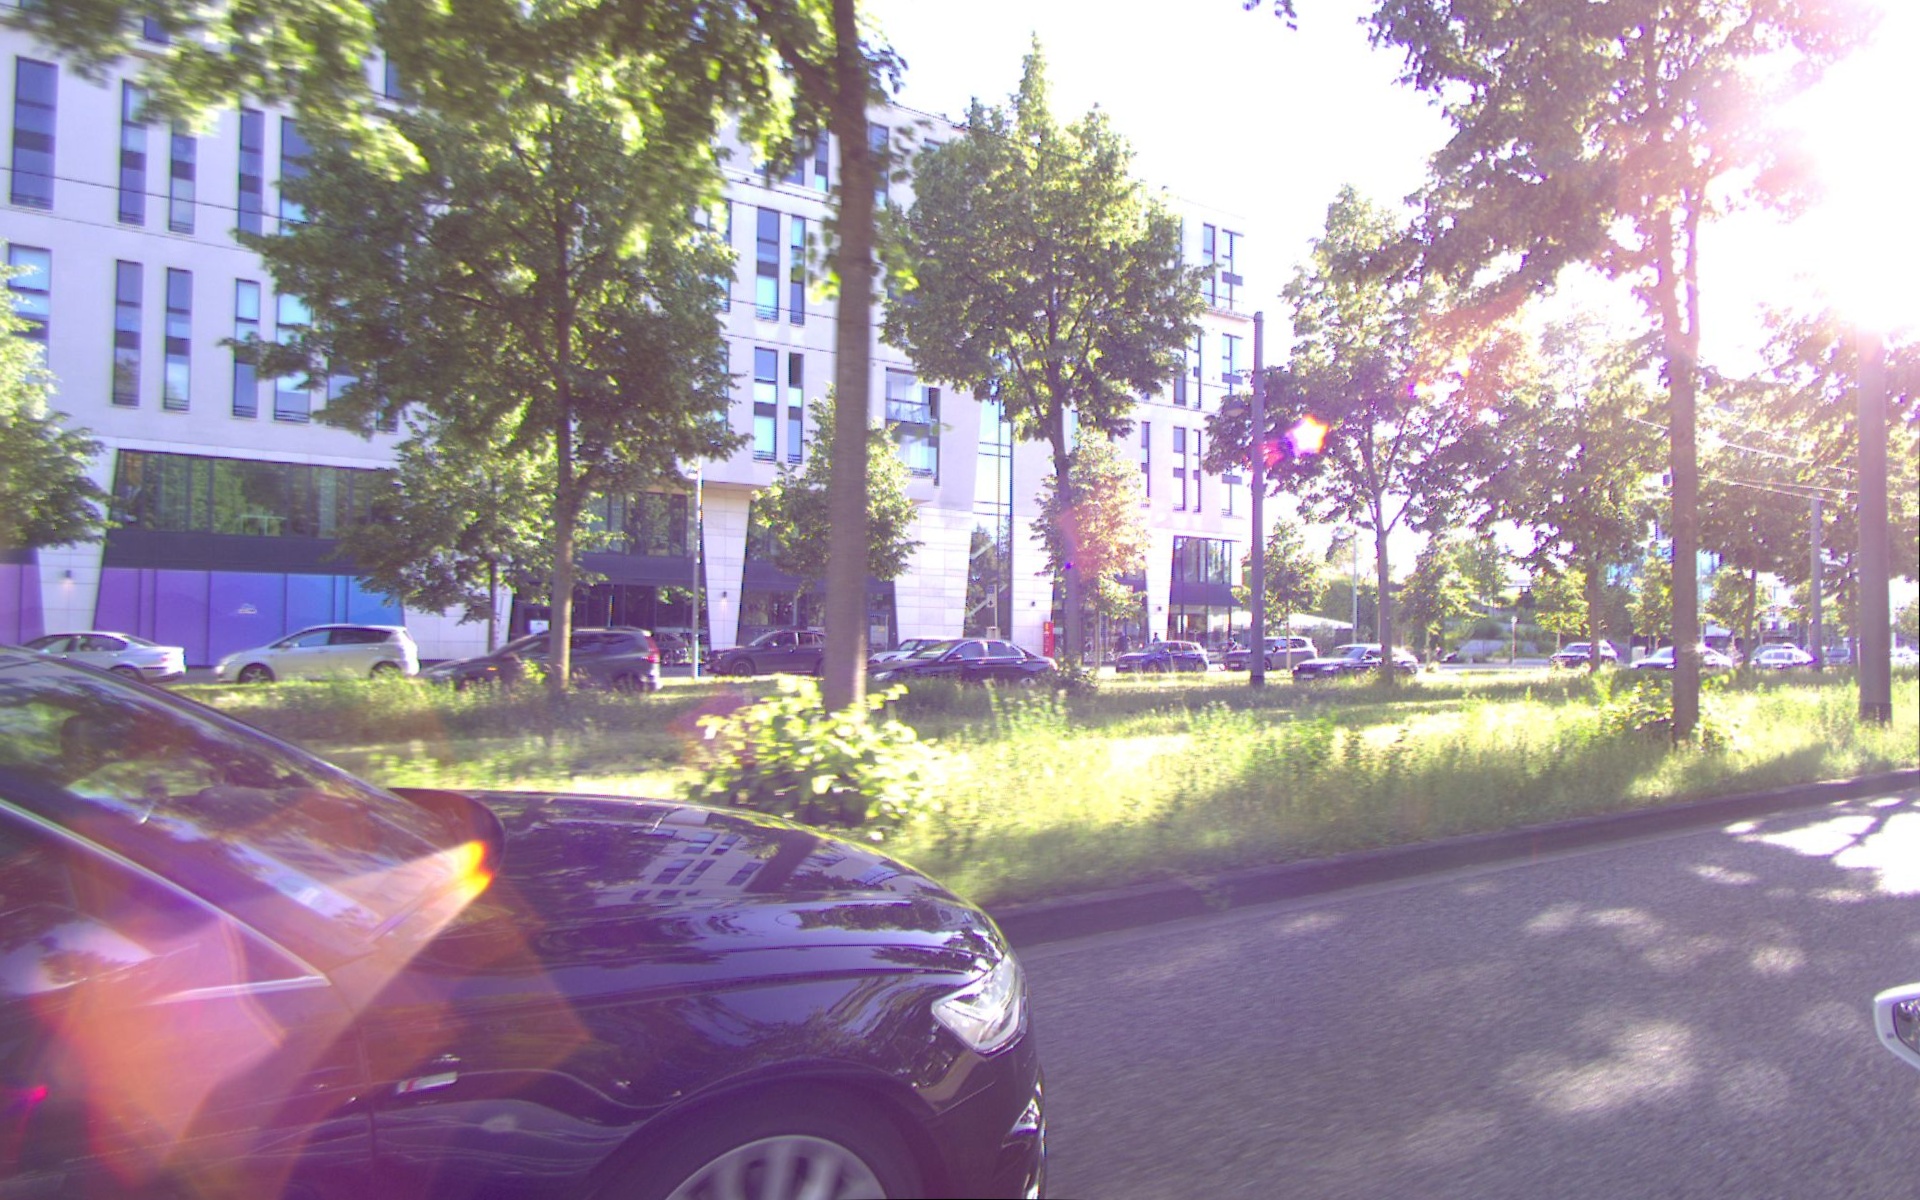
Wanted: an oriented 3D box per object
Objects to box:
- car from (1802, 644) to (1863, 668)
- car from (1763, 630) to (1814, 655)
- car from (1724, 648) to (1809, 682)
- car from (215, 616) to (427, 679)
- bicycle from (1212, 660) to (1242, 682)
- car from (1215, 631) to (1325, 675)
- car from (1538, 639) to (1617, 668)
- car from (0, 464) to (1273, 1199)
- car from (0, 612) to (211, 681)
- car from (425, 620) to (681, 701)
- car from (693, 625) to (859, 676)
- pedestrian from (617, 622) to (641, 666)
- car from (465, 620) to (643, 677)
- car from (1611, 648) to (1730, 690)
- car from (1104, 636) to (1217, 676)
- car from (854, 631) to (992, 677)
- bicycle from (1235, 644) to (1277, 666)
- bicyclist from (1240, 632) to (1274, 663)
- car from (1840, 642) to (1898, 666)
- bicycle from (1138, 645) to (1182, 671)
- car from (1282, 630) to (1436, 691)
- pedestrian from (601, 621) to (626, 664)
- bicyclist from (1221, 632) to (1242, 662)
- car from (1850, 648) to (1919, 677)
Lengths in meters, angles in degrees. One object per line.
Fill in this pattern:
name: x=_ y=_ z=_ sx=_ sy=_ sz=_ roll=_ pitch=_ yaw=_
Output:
car: x=65.018 y=4.160 z=74.823 sx=4.556 sy=1.630 sz=1.984 roll=2 pitch=-1 yaw=-30
car: x=73.185 y=3.760 z=88.698 sx=4.509 sy=2.040 sz=1.984 roll=2 pitch=0 yaw=-30
car: x=40.654 y=3.296 z=50.614 sx=4.269 sy=1.548 sz=1.984 roll=3 pitch=-1 yaw=-31
car: x=-16.267 y=1.223 z=25.834 sx=4.405 sy=1.460 sz=1.983 roll=3 pitch=-1 yaw=-31
bicycle: x=12.962 y=3.444 z=48.734 sx=1.466 sy=1.030 sz=0.428 roll=2 pitch=0 yaw=-29
car: x=13.603 y=2.328 z=44.001 sx=4.725 sy=1.795 sz=1.982 roll=3 pitch=-1 yaw=-33
car: x=34.995 y=3.024 z=56.896 sx=4.556 sy=1.453 sz=1.871 roll=3 pitch=-1 yaw=-30
car: x=-1.954 y=0.615 z=1.620 sx=5.029 sy=1.500 sz=1.942 roll=1 pitch=-1 yaw=-33
car: x=-20.515 y=1.077 z=23.402 sx=4.728 sy=1.460 sz=1.982 roll=3 pitch=-1 yaw=-33
car: x=-8.395 y=1.238 z=20.823 sx=4.650 sy=1.460 sz=1.983 roll=3 pitch=-1 yaw=-31
car: x=-5.906 y=1.640 z=32.417 sx=4.884 sy=1.460 sz=1.982 roll=3 pitch=-1 yaw=-33
pedestrian: x=-12.817 y=1.688 z=38.922 sx=0.712 sy=1.673 sz=0.632 roll=2 pitch=0 yaw=-33
car: x=-11.619 y=1.399 z=28.828 sx=4.408 sy=1.460 sz=1.982 roll=3 pitch=-1 yaw=-33
car: x=27.381 y=2.659 z=38.701 sx=4.400 sy=1.460 sz=1.985 roll=2 pitch=-1 yaw=-28
car: x=8.087 y=2.263 z=40.402 sx=4.216 sy=1.460 sz=1.948 roll=3 pitch=-1 yaw=-30
car: x=-1.278 y=1.887 z=35.097 sx=4.408 sy=1.460 sz=1.982 roll=3 pitch=-1 yaw=-33
bicycle: x=13.847 y=2.579 z=46.945 sx=2.163 sy=1.014 sz=0.494 roll=2 pitch=-1 yaw=-31
bicyclist: x=13.881 y=2.211 z=46.955 sx=1.641 sy=1.424 sz=0.486 roll=2 pitch=-1 yaw=-31
car: x=70.264 y=4.188 z=77.672 sx=4.556 sy=1.694 sz=1.984 roll=2 pitch=-1 yaw=-30
bicycle: x=9.971 y=2.891 z=50.056 sx=2.215 sy=1.214 sz=0.729 roll=2 pitch=-1 yaw=-32
car: x=13.211 y=1.954 z=33.199 sx=5.189 sy=1.865 sz=1.984 roll=2 pitch=-2 yaw=-31
pedestrian: x=-13.589 y=1.665 z=39.398 sx=0.713 sy=1.673 sz=0.631 roll=2 pitch=0 yaw=-38
bicyclist: x=13.215 y=2.281 z=48.854 sx=0.944 sy=1.438 sz=0.428 roll=2 pitch=0 yaw=-29
car: x=53.701 y=3.610 z=58.120 sx=4.114 sy=1.592 sz=1.986 roll=2 pitch=-2 yaw=-28
